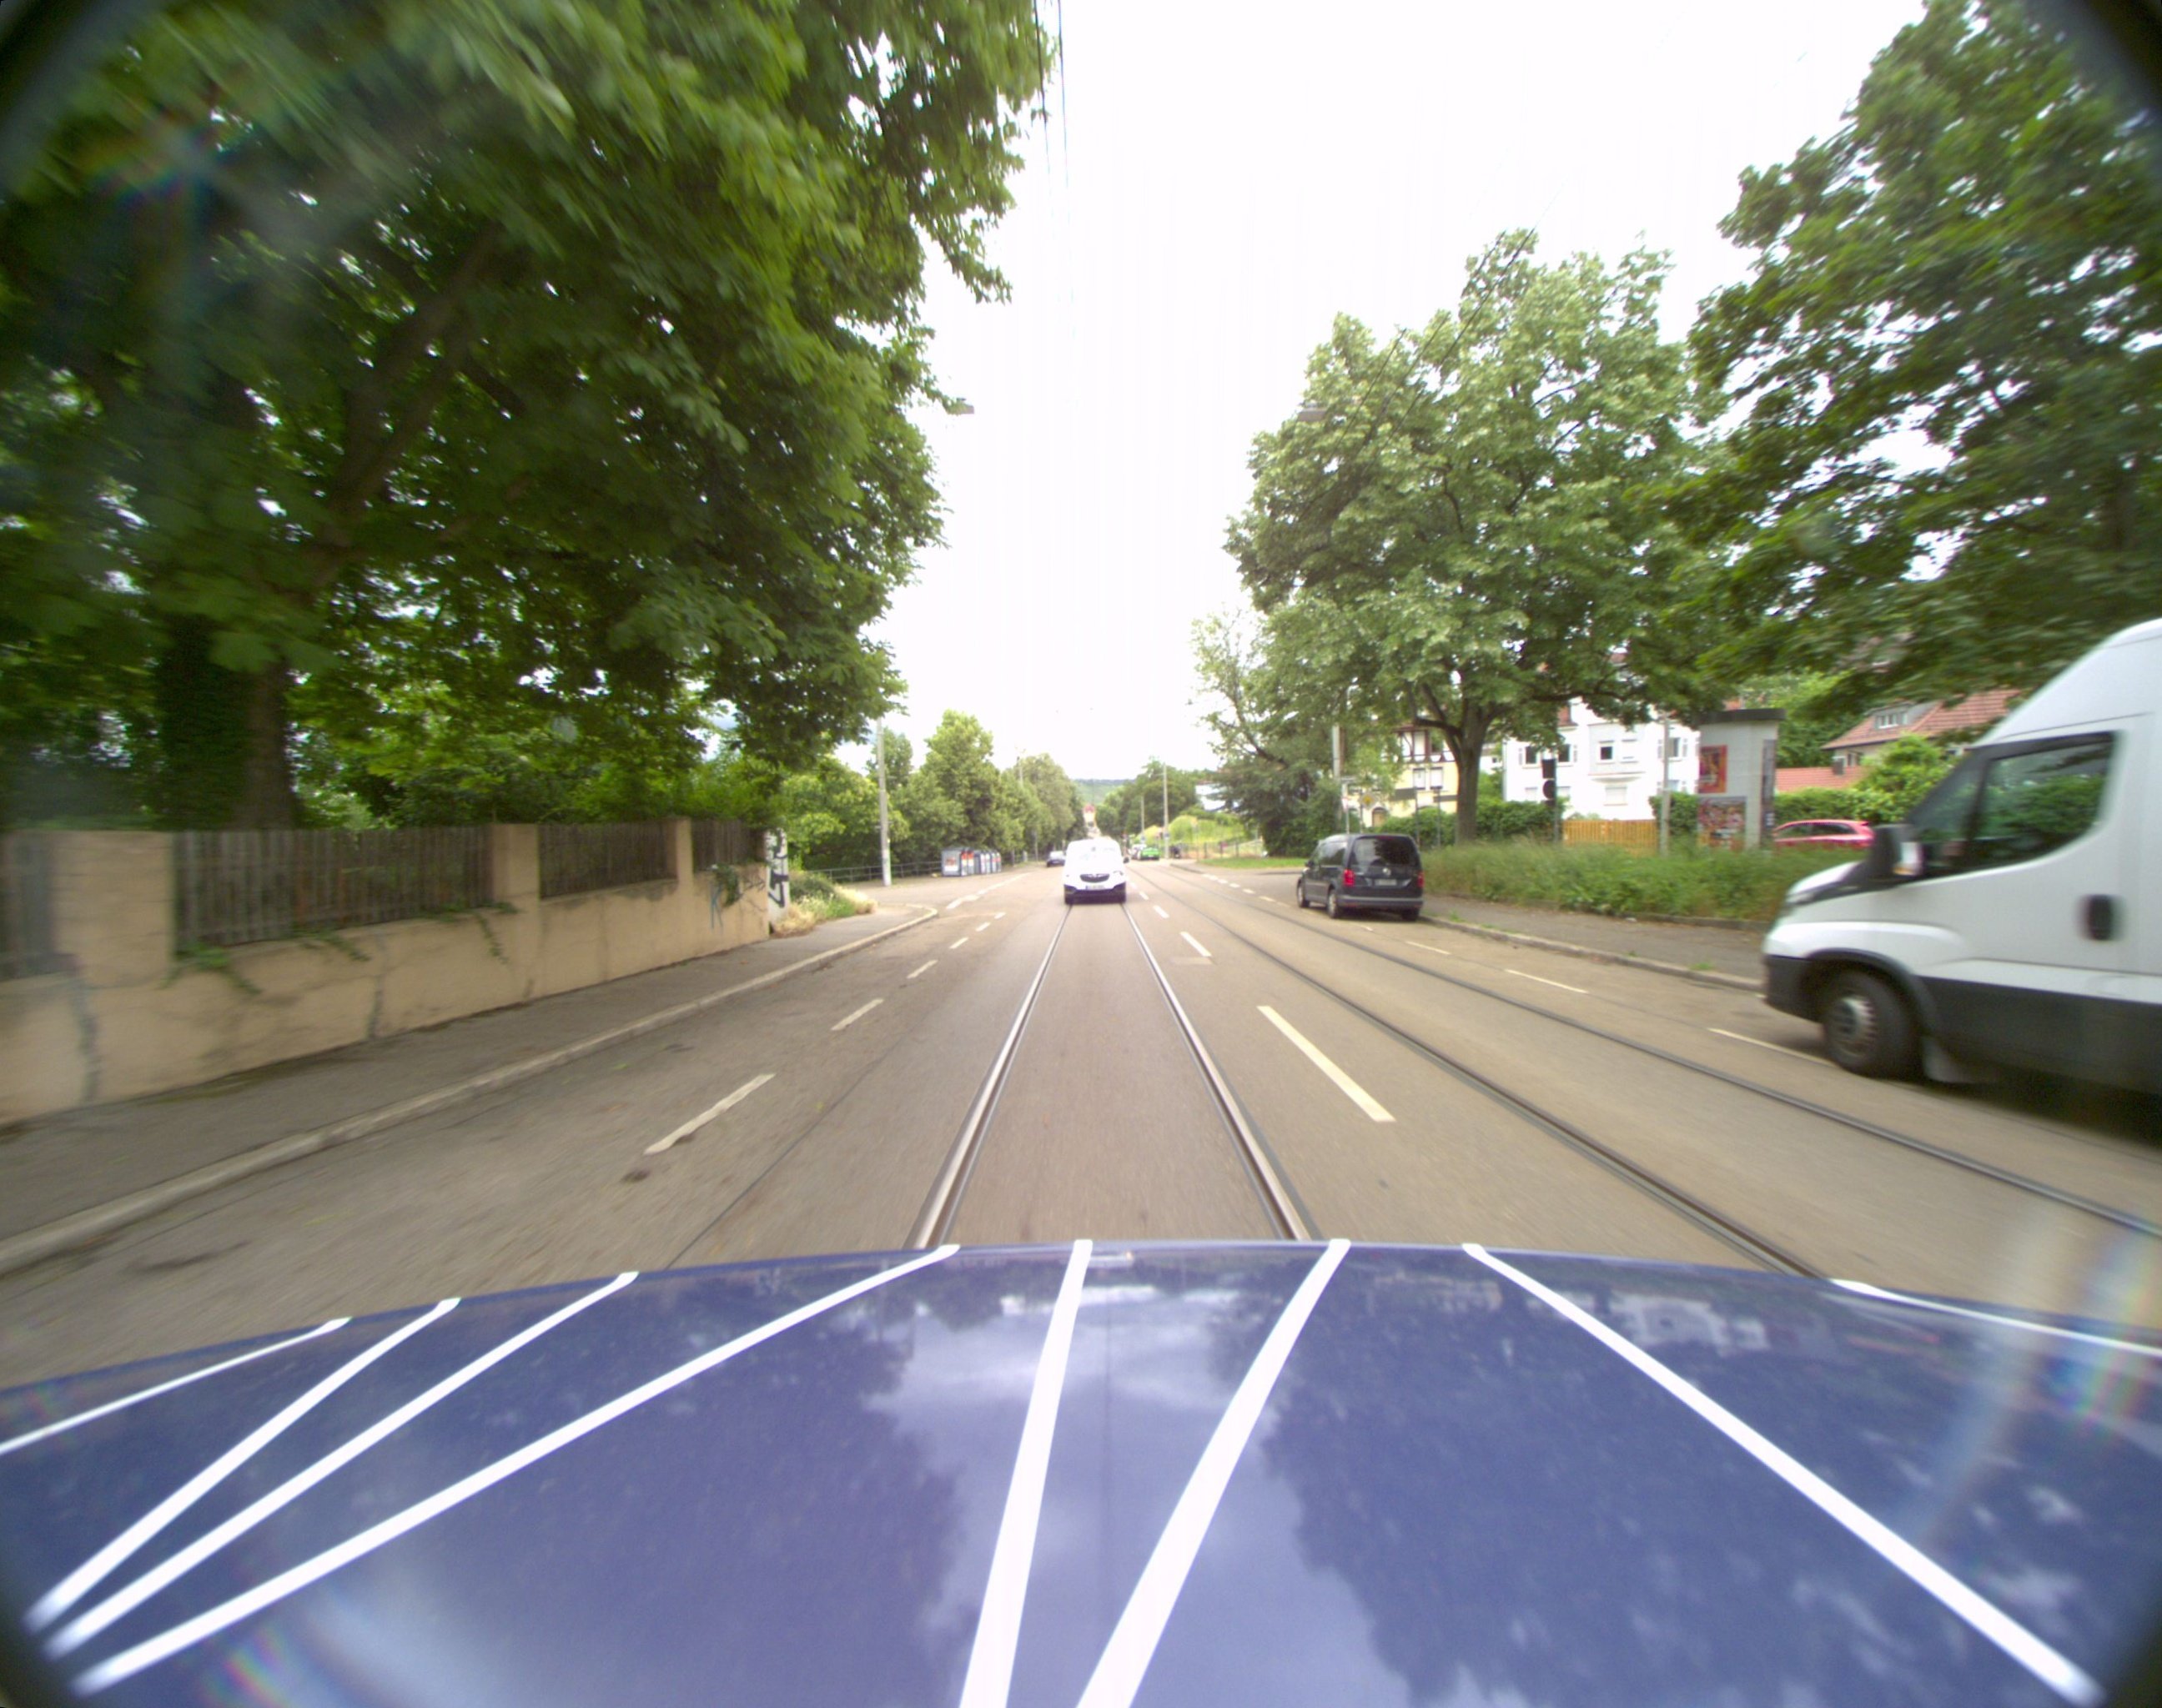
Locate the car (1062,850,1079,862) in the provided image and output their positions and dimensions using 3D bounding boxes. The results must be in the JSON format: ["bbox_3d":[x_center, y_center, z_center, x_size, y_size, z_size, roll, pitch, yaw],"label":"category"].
[{"bbox_3d":[-1.384,0.267,100.541,1.822,1.345,3.940,-4,0,3],"label":"car"}]

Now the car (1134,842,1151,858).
[{"bbox_3d":[7.884,-0.538,97.443,1.901,1.935,4.290,0,1,1],"label":"car"}]

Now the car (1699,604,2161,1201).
[{"bbox_3d":[5.778,0.223,2.613,2.164,2.591,6.218,1,0,0],"label":"car"}]

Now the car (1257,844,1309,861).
[{"bbox_3d":[17.238,-0.166,64.924,4.004,1.370,1.698,-1,1,25],"label":"car"}]

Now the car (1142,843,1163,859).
[{"bbox_3d":[7.271,-0.280,77.855,1.856,1.532,3.948,-2,0,1],"label":"car"}]

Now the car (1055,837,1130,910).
[{"bbox_3d":[0.440,0.487,21.958,1.759,1.824,4.449,-2,1,5],"label":"car"}]

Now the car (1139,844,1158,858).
[{"bbox_3d":[7.375,-0.333,83.586,1.856,1.485,3.948,0,1,1],"label":"car"}]

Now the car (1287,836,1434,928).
[{"bbox_3d":[6.139,0.516,17.299,1.766,1.765,4.668,1,1,3],"label":"car"}]

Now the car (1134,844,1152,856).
[{"bbox_3d":[7.504,-0.475,92.094,1.856,1.485,3.948,0,1,1],"label":"car"}]

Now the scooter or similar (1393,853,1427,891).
[{"bbox_3d":[10.306,0.553,23.846,0.312,1.139,1.718,-3,-1,1],"label":"scooter or similar"}]

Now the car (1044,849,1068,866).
[{"bbox_3d":[-2.278,0.291,71.367,1.863,1.434,4.388,-5,1,2],"label":"car"}]

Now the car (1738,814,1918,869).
[{"bbox_3d":[22.481,-0.347,22.985,1.753,1.469,3.604,-4,1,-36],"label":"car"}]
